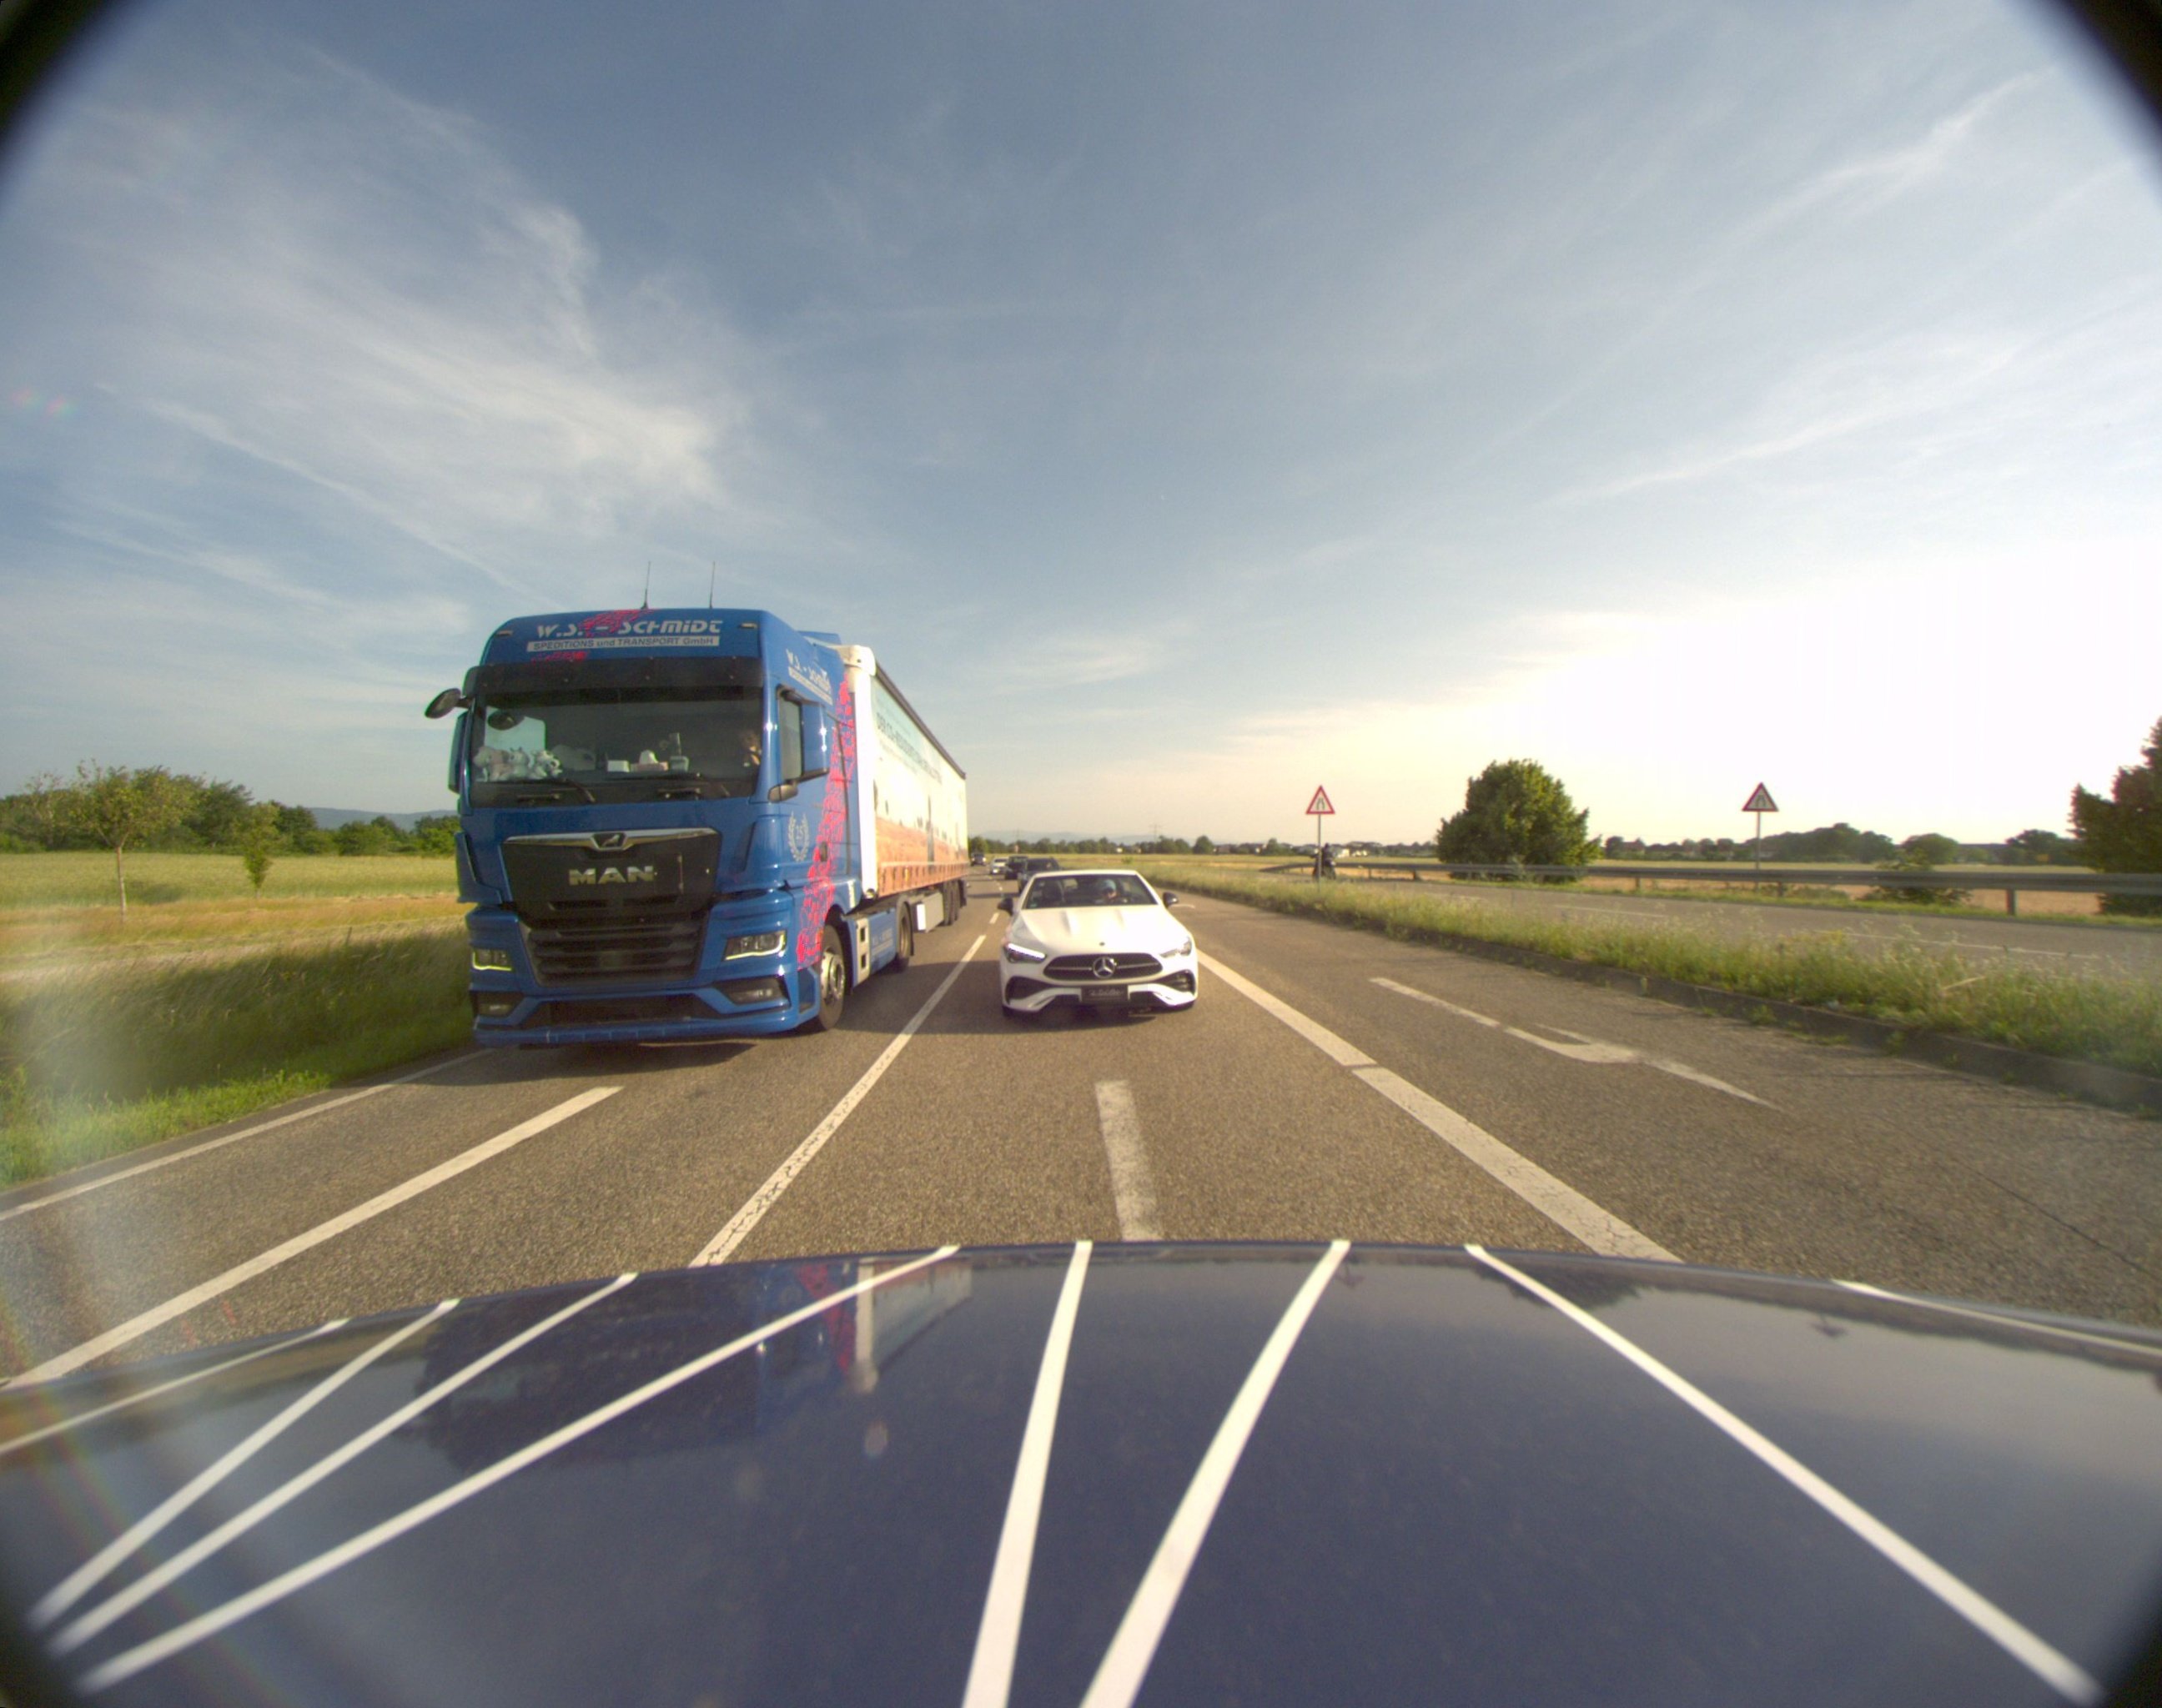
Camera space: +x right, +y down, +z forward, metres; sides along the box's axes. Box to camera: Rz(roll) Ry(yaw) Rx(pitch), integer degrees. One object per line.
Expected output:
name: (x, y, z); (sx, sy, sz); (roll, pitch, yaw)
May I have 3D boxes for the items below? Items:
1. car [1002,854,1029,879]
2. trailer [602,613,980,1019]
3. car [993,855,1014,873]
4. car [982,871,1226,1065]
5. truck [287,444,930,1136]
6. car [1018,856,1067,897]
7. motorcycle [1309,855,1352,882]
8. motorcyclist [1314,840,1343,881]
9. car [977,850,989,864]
car: (-4.264, 0.774, 49.348); (1.558, 1.550, 3.046); (-1, 0, -8)
trailer: (-4.217, -0.552, 15.428); (3.291, 4.654, 13.140); (-2, 1, -4)
car: (-6.468, 0.771, 62.864); (1.558, 1.392, 4.032); (-1, 0, -8)
car: (0.135, 0.972, 8.138); (1.941, 1.389, 3.917); (-2, 1, -2)
truck: (-3.732, -0.486, 8.065); (3.309, 4.631, 5.729); (-2, 1, -4)
car: (-1.577, 0.839, 30.278); (1.586, 1.496, 3.658); (-1, 0, -8)
motorcycle: (10.797, 0.612, 32.963); (0.940, 1.118, 2.169); (-2, 0, -5)
motorcyclist: (10.776, 0.285, 33.140); (0.906, 1.748, 0.831); (-2, 1, -6)
car: (-13.720, 0.359, 106.705); (1.558, 1.909, 4.032); (-1, 0, -8)
